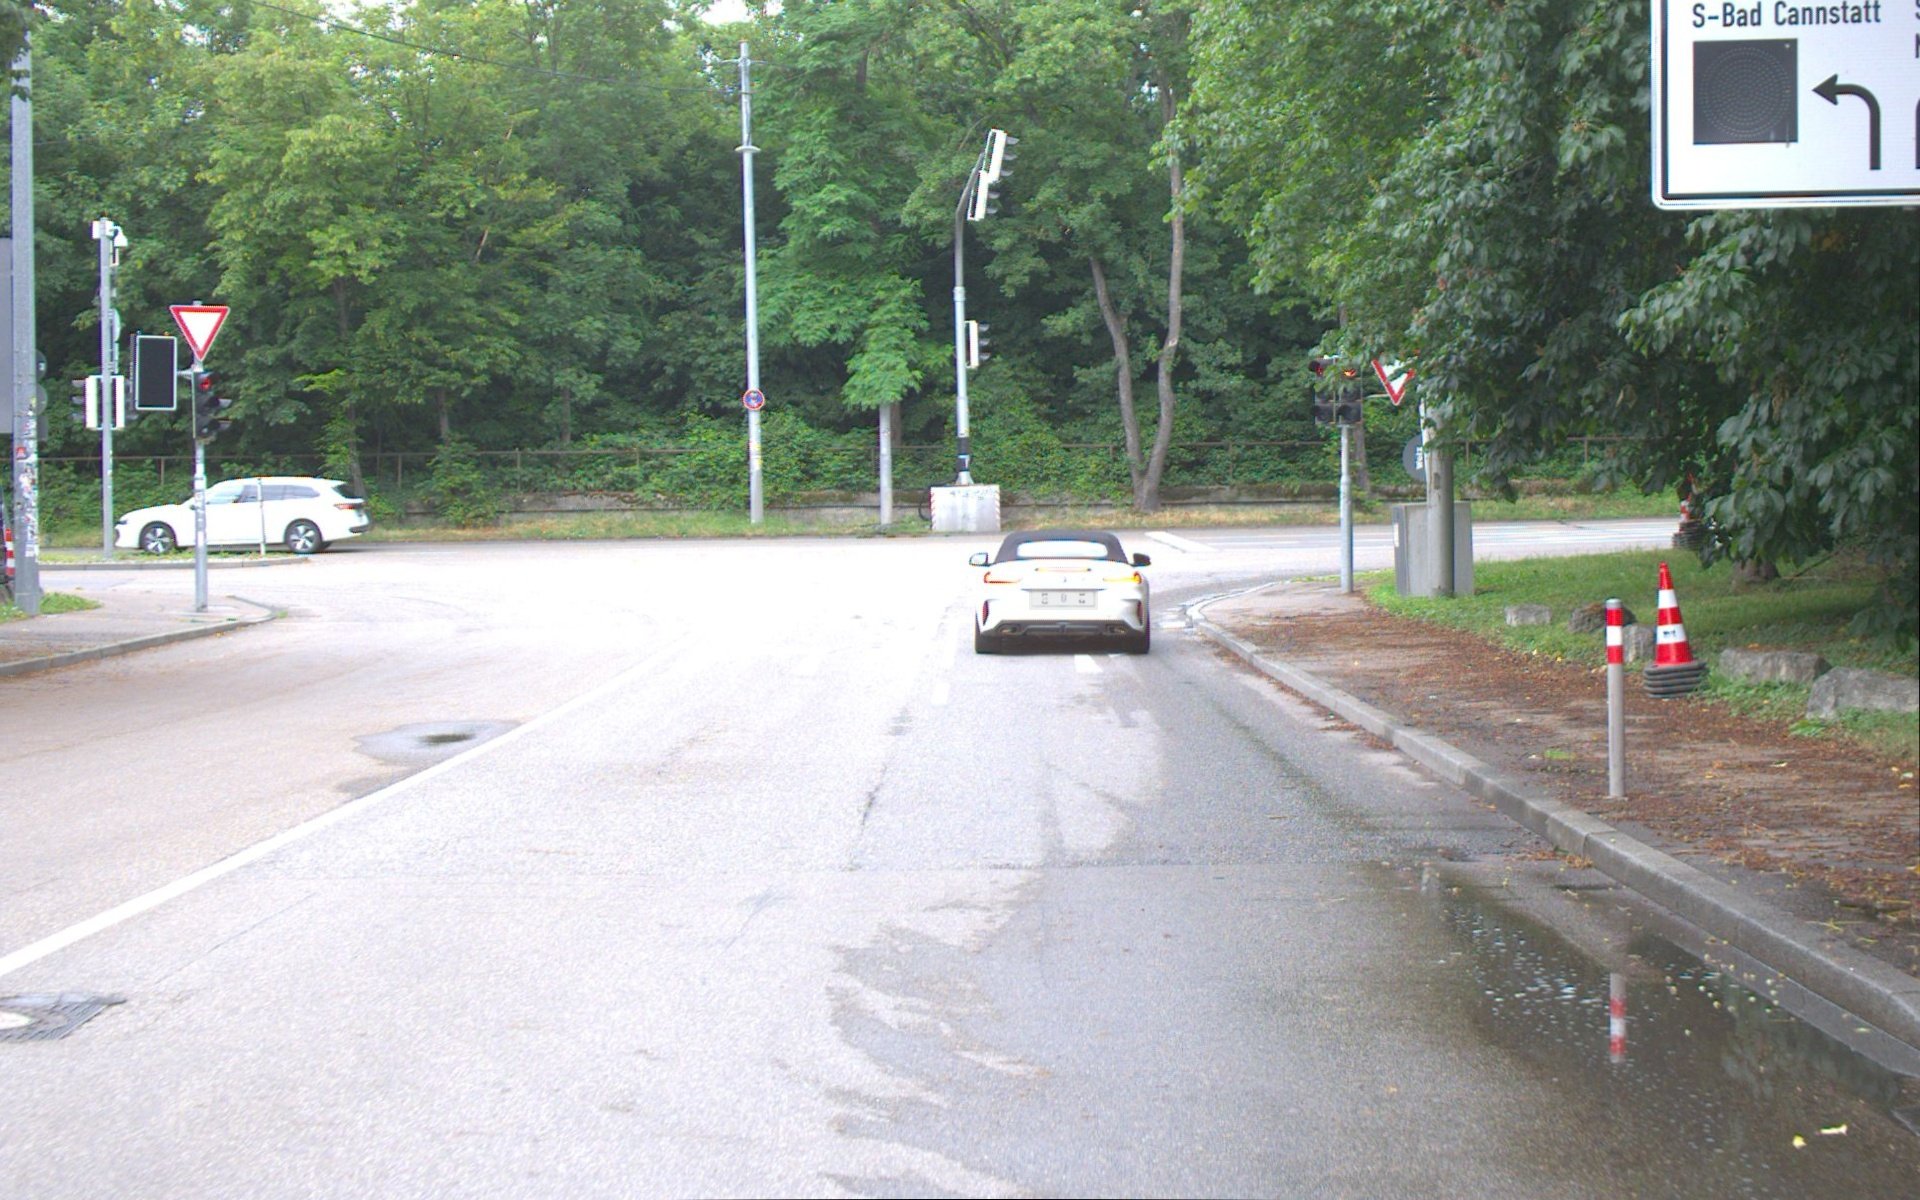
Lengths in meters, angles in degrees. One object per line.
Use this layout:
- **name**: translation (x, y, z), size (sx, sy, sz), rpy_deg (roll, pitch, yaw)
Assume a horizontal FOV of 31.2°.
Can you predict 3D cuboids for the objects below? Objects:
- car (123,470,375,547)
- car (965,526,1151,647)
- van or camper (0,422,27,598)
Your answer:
- **car**: translation (-14.064, -1.794, 68.169), size (4.673, 1.451, 1.900), rpy_deg (0, 0, -4)
- **car**: translation (1.022, -0.150, 37.663), size (1.827, 1.253, 4.000), rpy_deg (0, 0, -1)
- **van or camper**: translation (-15.329, -1.076, 45.062), size (5.535, 2.305, 2.062), rpy_deg (-2, 0, 2)
